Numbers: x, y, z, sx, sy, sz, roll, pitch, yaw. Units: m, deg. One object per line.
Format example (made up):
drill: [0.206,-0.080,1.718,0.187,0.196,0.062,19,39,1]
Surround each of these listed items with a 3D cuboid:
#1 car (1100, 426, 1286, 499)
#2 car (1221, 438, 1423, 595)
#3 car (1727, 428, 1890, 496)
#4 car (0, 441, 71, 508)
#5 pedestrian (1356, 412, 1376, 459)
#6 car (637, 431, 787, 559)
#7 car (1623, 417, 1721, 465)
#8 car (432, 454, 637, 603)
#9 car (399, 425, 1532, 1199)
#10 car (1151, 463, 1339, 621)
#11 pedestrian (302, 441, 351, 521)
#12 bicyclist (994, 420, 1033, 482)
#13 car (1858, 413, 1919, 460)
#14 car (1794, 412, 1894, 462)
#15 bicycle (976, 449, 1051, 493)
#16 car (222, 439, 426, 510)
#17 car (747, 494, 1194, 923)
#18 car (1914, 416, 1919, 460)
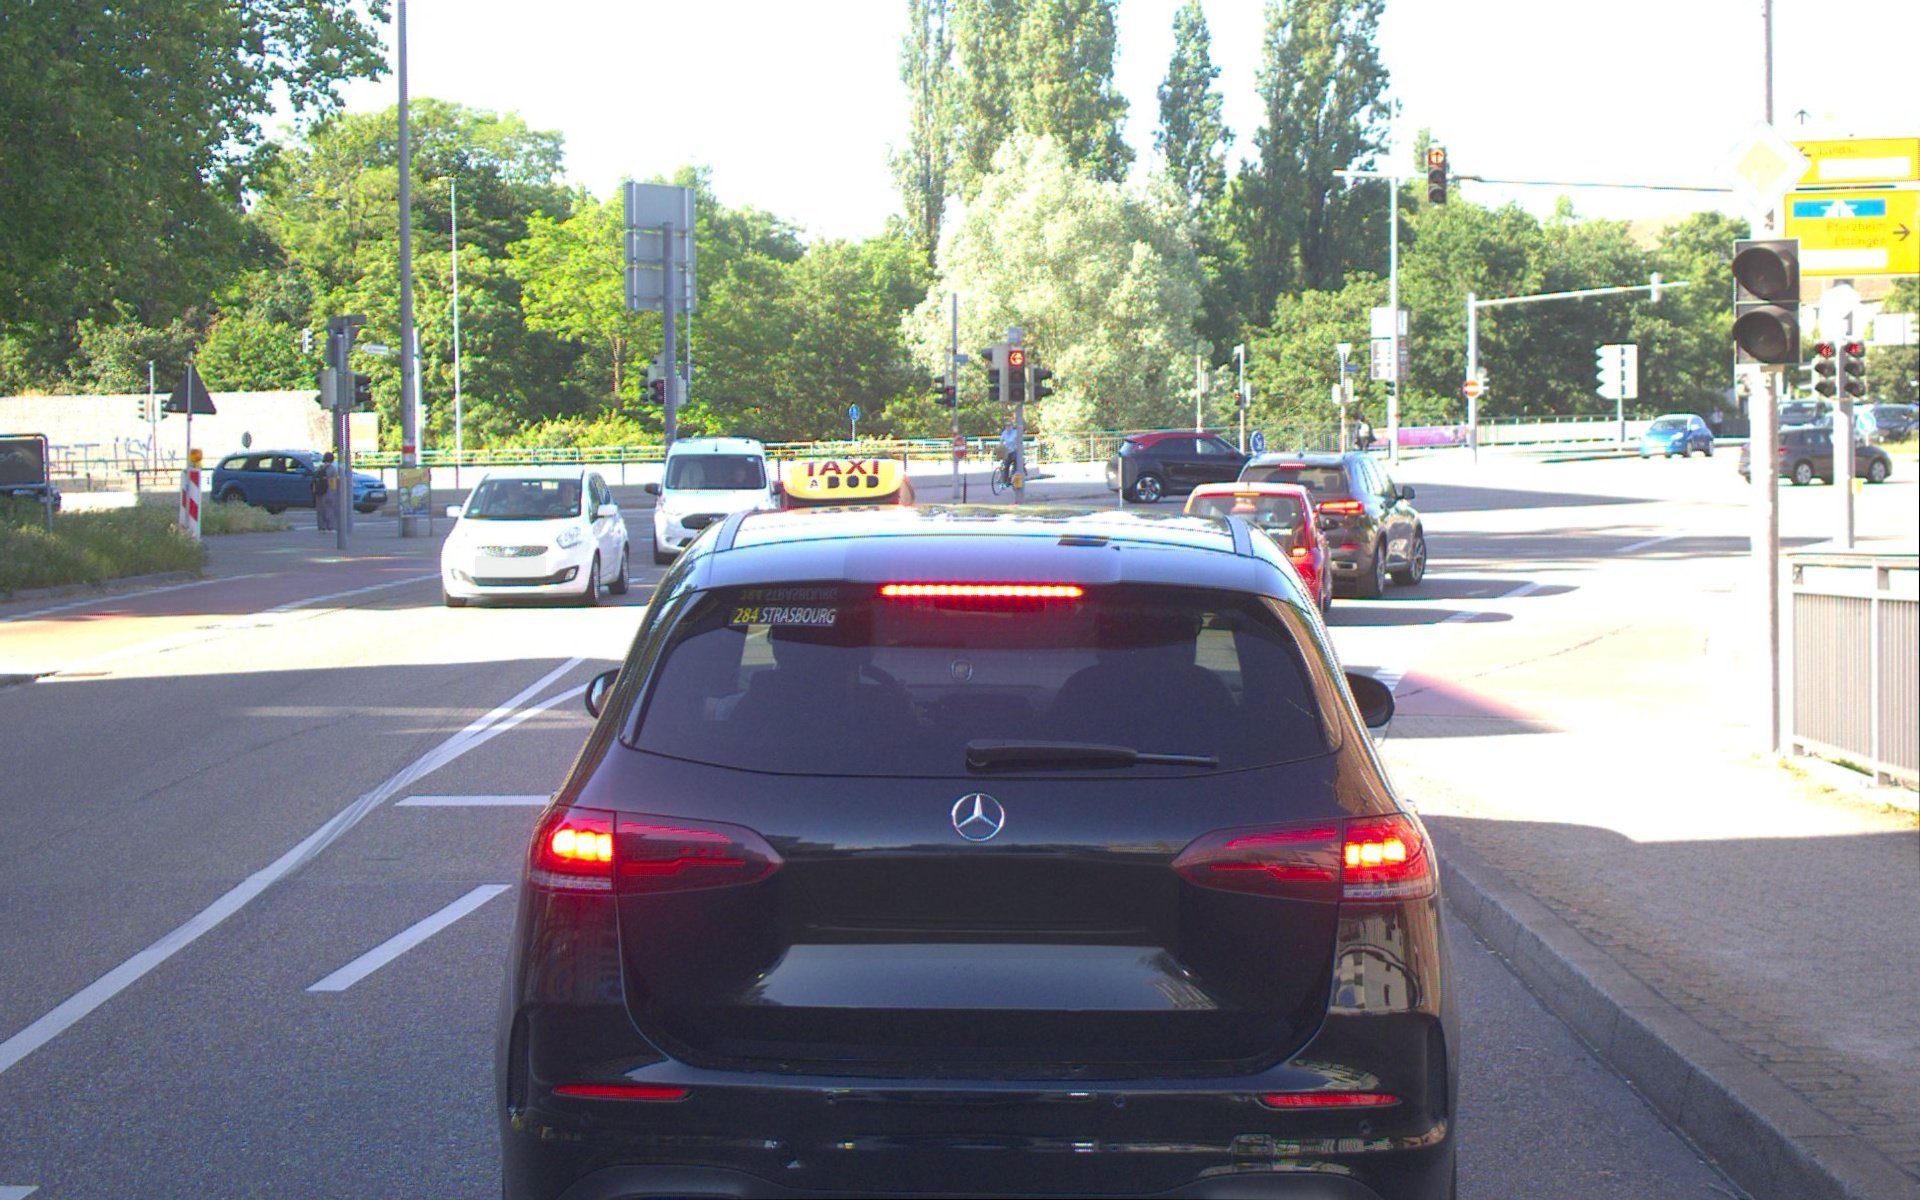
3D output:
car: [5.355,-3.163,79.227,3.986,1.624,1.891,-1,2,-6]
car: [4.572,-1.080,42.916,1.723,1.805,4.294,0,3,17]
car: [21.105,-3.436,85.445,3.988,1.624,1.890,-2,3,-38]
car: [-24.485,-3.115,85.674,4.404,1.624,1.888,1,3,29]
pedestrian: [13.890,-5.644,117.738,0.451,1.580,0.500,1,3,40]
car: [-3.788,-1.614,51.791,1.917,1.788,4.900,-2,3,-7]
car: [24.484,-5.462,118.119,1.882,1.572,3.992,1,4,35]
car: [-5.012,-0.898,40.964,1.778,1.629,4.000,-1,3,2]
car: [-0.035,0.465,7.747,1.877,1.607,4.001,1,2,-1]
car: [3.129,-0.669,37.241,1.722,1.516,3.485,0,4,10]
pedestrian: [-12.104,-2.278,65.686,0.705,1.520,0.743,1,2,10]
bicyclist: [1.364,-3.773,87.219,0.804,1.545,0.527,-4,3,-39]
car: [32.437,-5.624,117.933,1.882,1.572,3.992,1,4,35]
car: [28.996,-5.344,112.746,1.882,1.572,3.992,1,4,35]
bicycle: [1.367,-3.283,87.251,1.984,1.046,0.527,-4,3,-39]
car: [-14.997,-2.960,81.083,4.402,1.624,1.889,0,2,23]
car: [0.073,0.355,14.607,1.640,1.524,3.474,-1,2,1]
car: [36.035,-5.882,124.094,1.882,1.572,3.992,1,4,35]
